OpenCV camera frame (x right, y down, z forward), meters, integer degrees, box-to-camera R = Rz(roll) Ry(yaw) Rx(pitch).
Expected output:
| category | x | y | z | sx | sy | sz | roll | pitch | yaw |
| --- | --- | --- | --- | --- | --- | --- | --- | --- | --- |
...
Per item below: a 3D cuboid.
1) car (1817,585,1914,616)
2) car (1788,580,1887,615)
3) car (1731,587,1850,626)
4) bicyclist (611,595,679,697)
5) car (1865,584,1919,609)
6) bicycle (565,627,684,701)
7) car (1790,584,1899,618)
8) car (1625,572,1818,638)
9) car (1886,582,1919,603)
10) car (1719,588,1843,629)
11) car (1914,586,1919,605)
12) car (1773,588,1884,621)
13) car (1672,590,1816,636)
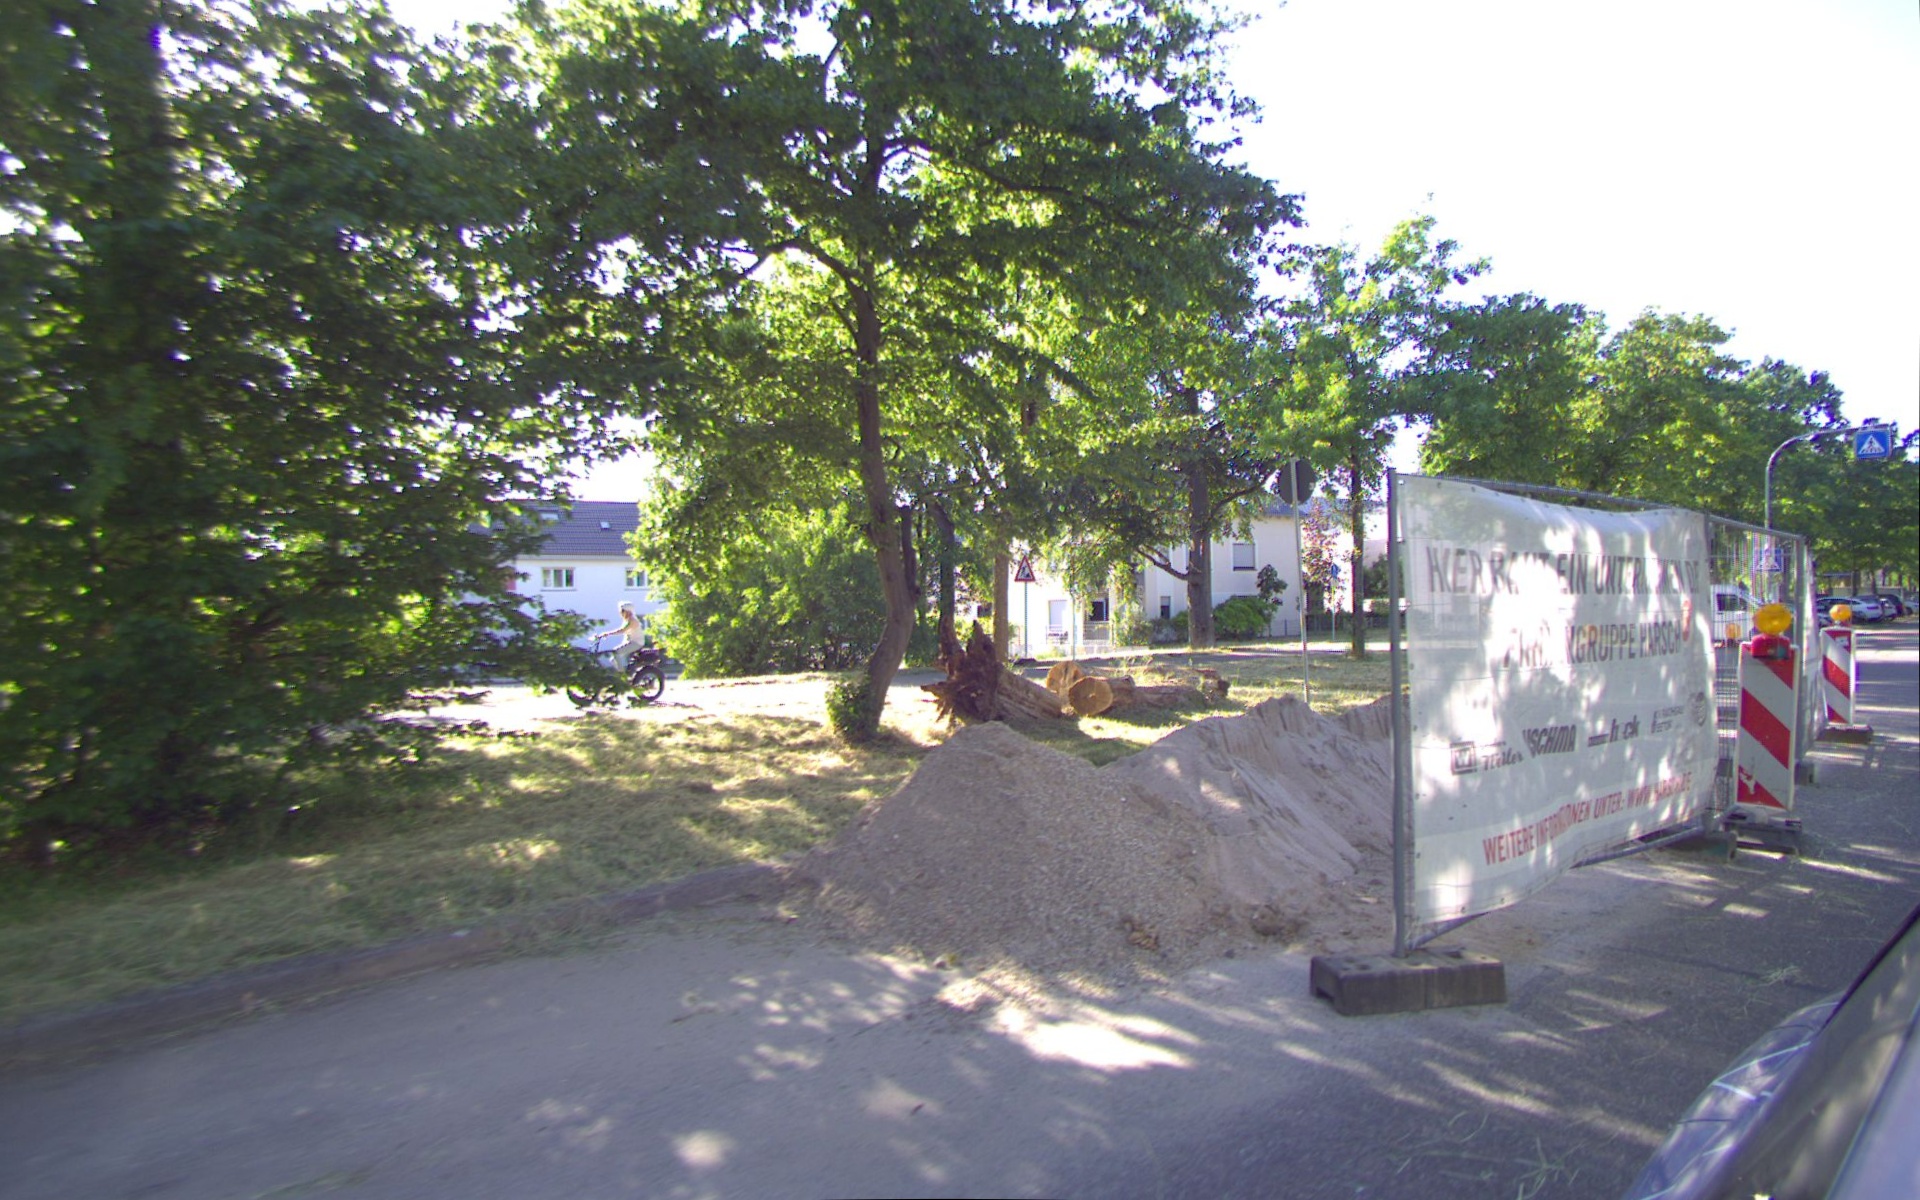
| category | x | y | z | sx | sy | sz | roll | pitch | yaw |
| --- | --- | --- | --- | --- | --- | --- | --- | --- | --- |
| car | 57.667 | 0.042 | 64.497 | 1.506 | 1.765 | 4.391 | 0 | -2 | -40 |
| car | 54.243 | -0.118 | 62.647 | 1.506 | 2.014 | 4.391 | 0 | -2 | -40 |
| car | 38.507 | 0.330 | 46.998 | 1.506 | 1.681 | 4.015 | 0 | -2 | -40 |
| bicyclist | -5.457 | 0.784 | 17.523 | 0.835 | 1.687 | 0.725 | -1 | -2 | -44 |
| car | 74.041 | -0.295 | 79.602 | 1.831 | 1.873 | 3.991 | 0 | -2 | -42 |
| bicycle | -5.699 | 1.064 | 17.267 | 1.800 | 1.165 | 0.676 | 0 | -2 | -44 |
| car | 49.629 | 0.069 | 56.871 | 1.506 | 1.765 | 4.391 | 0 | -2 | -40 |
| car | 26.015 | 0.199 | 34.723 | 1.859 | 2.108 | 5.038 | 0 | -1 | -42 |
| car | 88.919 | -0.760 | 93.935 | 1.916 | 1.873 | 4.146 | 0 | -2 | -42 |
| car | 36.393 | 0.392 | 44.924 | 1.506 | 1.701 | 4.015 | 0 | -2 | -40 |
| car | 97.817 | -0.549 | 100.557 | 1.916 | 1.873 | 4.146 | 0 | -2 | -42 |
| car | 47.216 | 0.252 | 55.096 | 1.506 | 1.663 | 4.391 | 0 | -2 | -40 |
| car | 29.589 | 0.520 | 38.263 | 1.727 | 1.583 | 3.993 | 0 | -2 | -40 |
